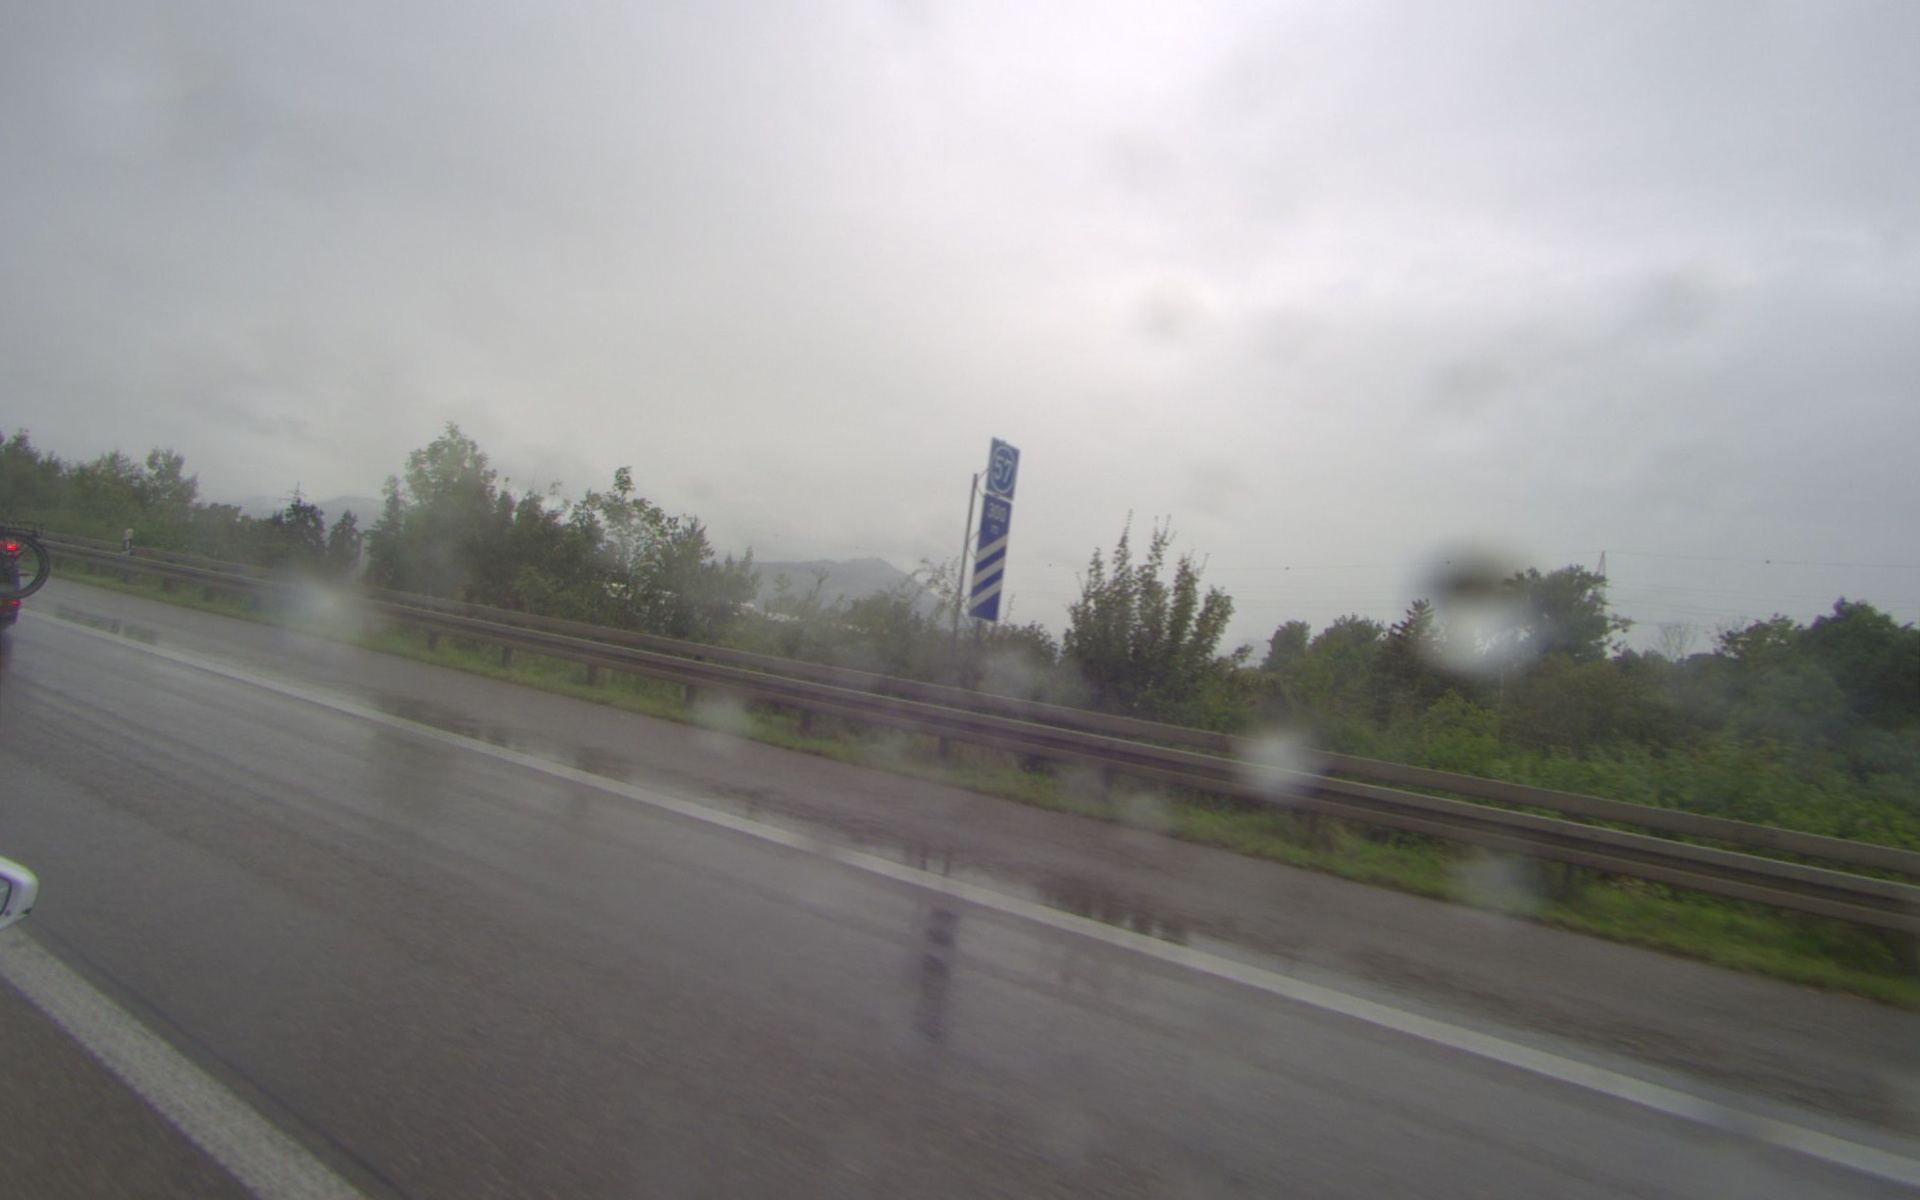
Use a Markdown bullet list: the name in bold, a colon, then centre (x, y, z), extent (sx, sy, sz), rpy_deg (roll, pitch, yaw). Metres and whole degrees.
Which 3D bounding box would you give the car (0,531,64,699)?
- **car**: centre (-13.132, -0.155, 11.780), extent (5.626, 1.766, 2.461), rpy_deg (6, -2, 33)
